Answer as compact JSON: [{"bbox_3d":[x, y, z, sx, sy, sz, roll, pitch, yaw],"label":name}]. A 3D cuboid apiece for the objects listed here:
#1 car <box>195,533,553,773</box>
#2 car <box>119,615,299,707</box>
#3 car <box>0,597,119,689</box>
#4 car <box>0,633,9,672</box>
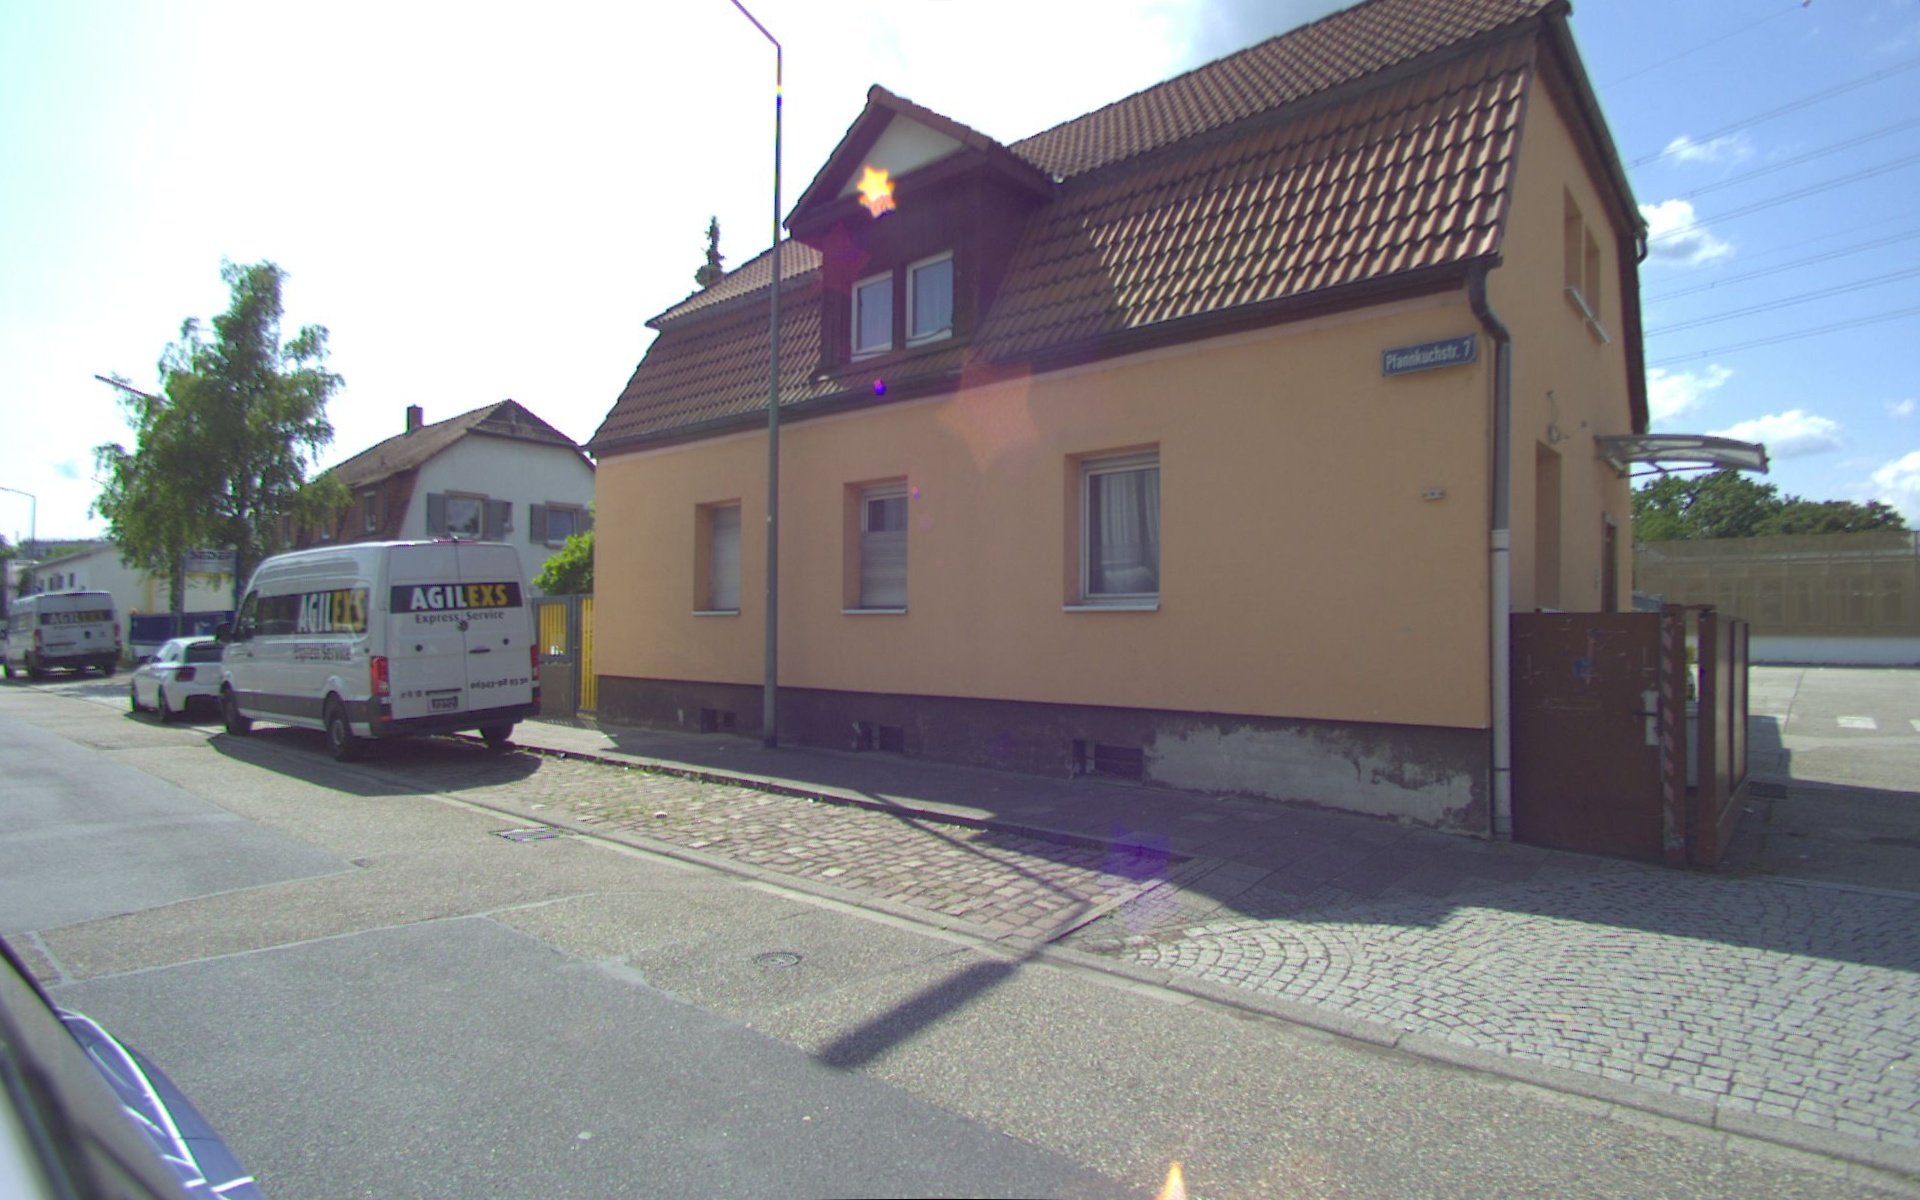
[{"bbox_3d":[-8.254,0.578,13.821,6.834,2.580,2.006,-1,1,40],"label":"car"},{"bbox_3d":[-13.684,1.011,18.343,4.501,1.408,1.777,-1,1,42],"label":"car"},{"bbox_3d":[-28.470,1.245,31.691,6.650,2.576,2.010,-1,1,39],"label":"car"},{"bbox_3d":[-41.802,2.273,43.105,3.009,1.585,1.592,-2,2,43],"label":"car"}]
